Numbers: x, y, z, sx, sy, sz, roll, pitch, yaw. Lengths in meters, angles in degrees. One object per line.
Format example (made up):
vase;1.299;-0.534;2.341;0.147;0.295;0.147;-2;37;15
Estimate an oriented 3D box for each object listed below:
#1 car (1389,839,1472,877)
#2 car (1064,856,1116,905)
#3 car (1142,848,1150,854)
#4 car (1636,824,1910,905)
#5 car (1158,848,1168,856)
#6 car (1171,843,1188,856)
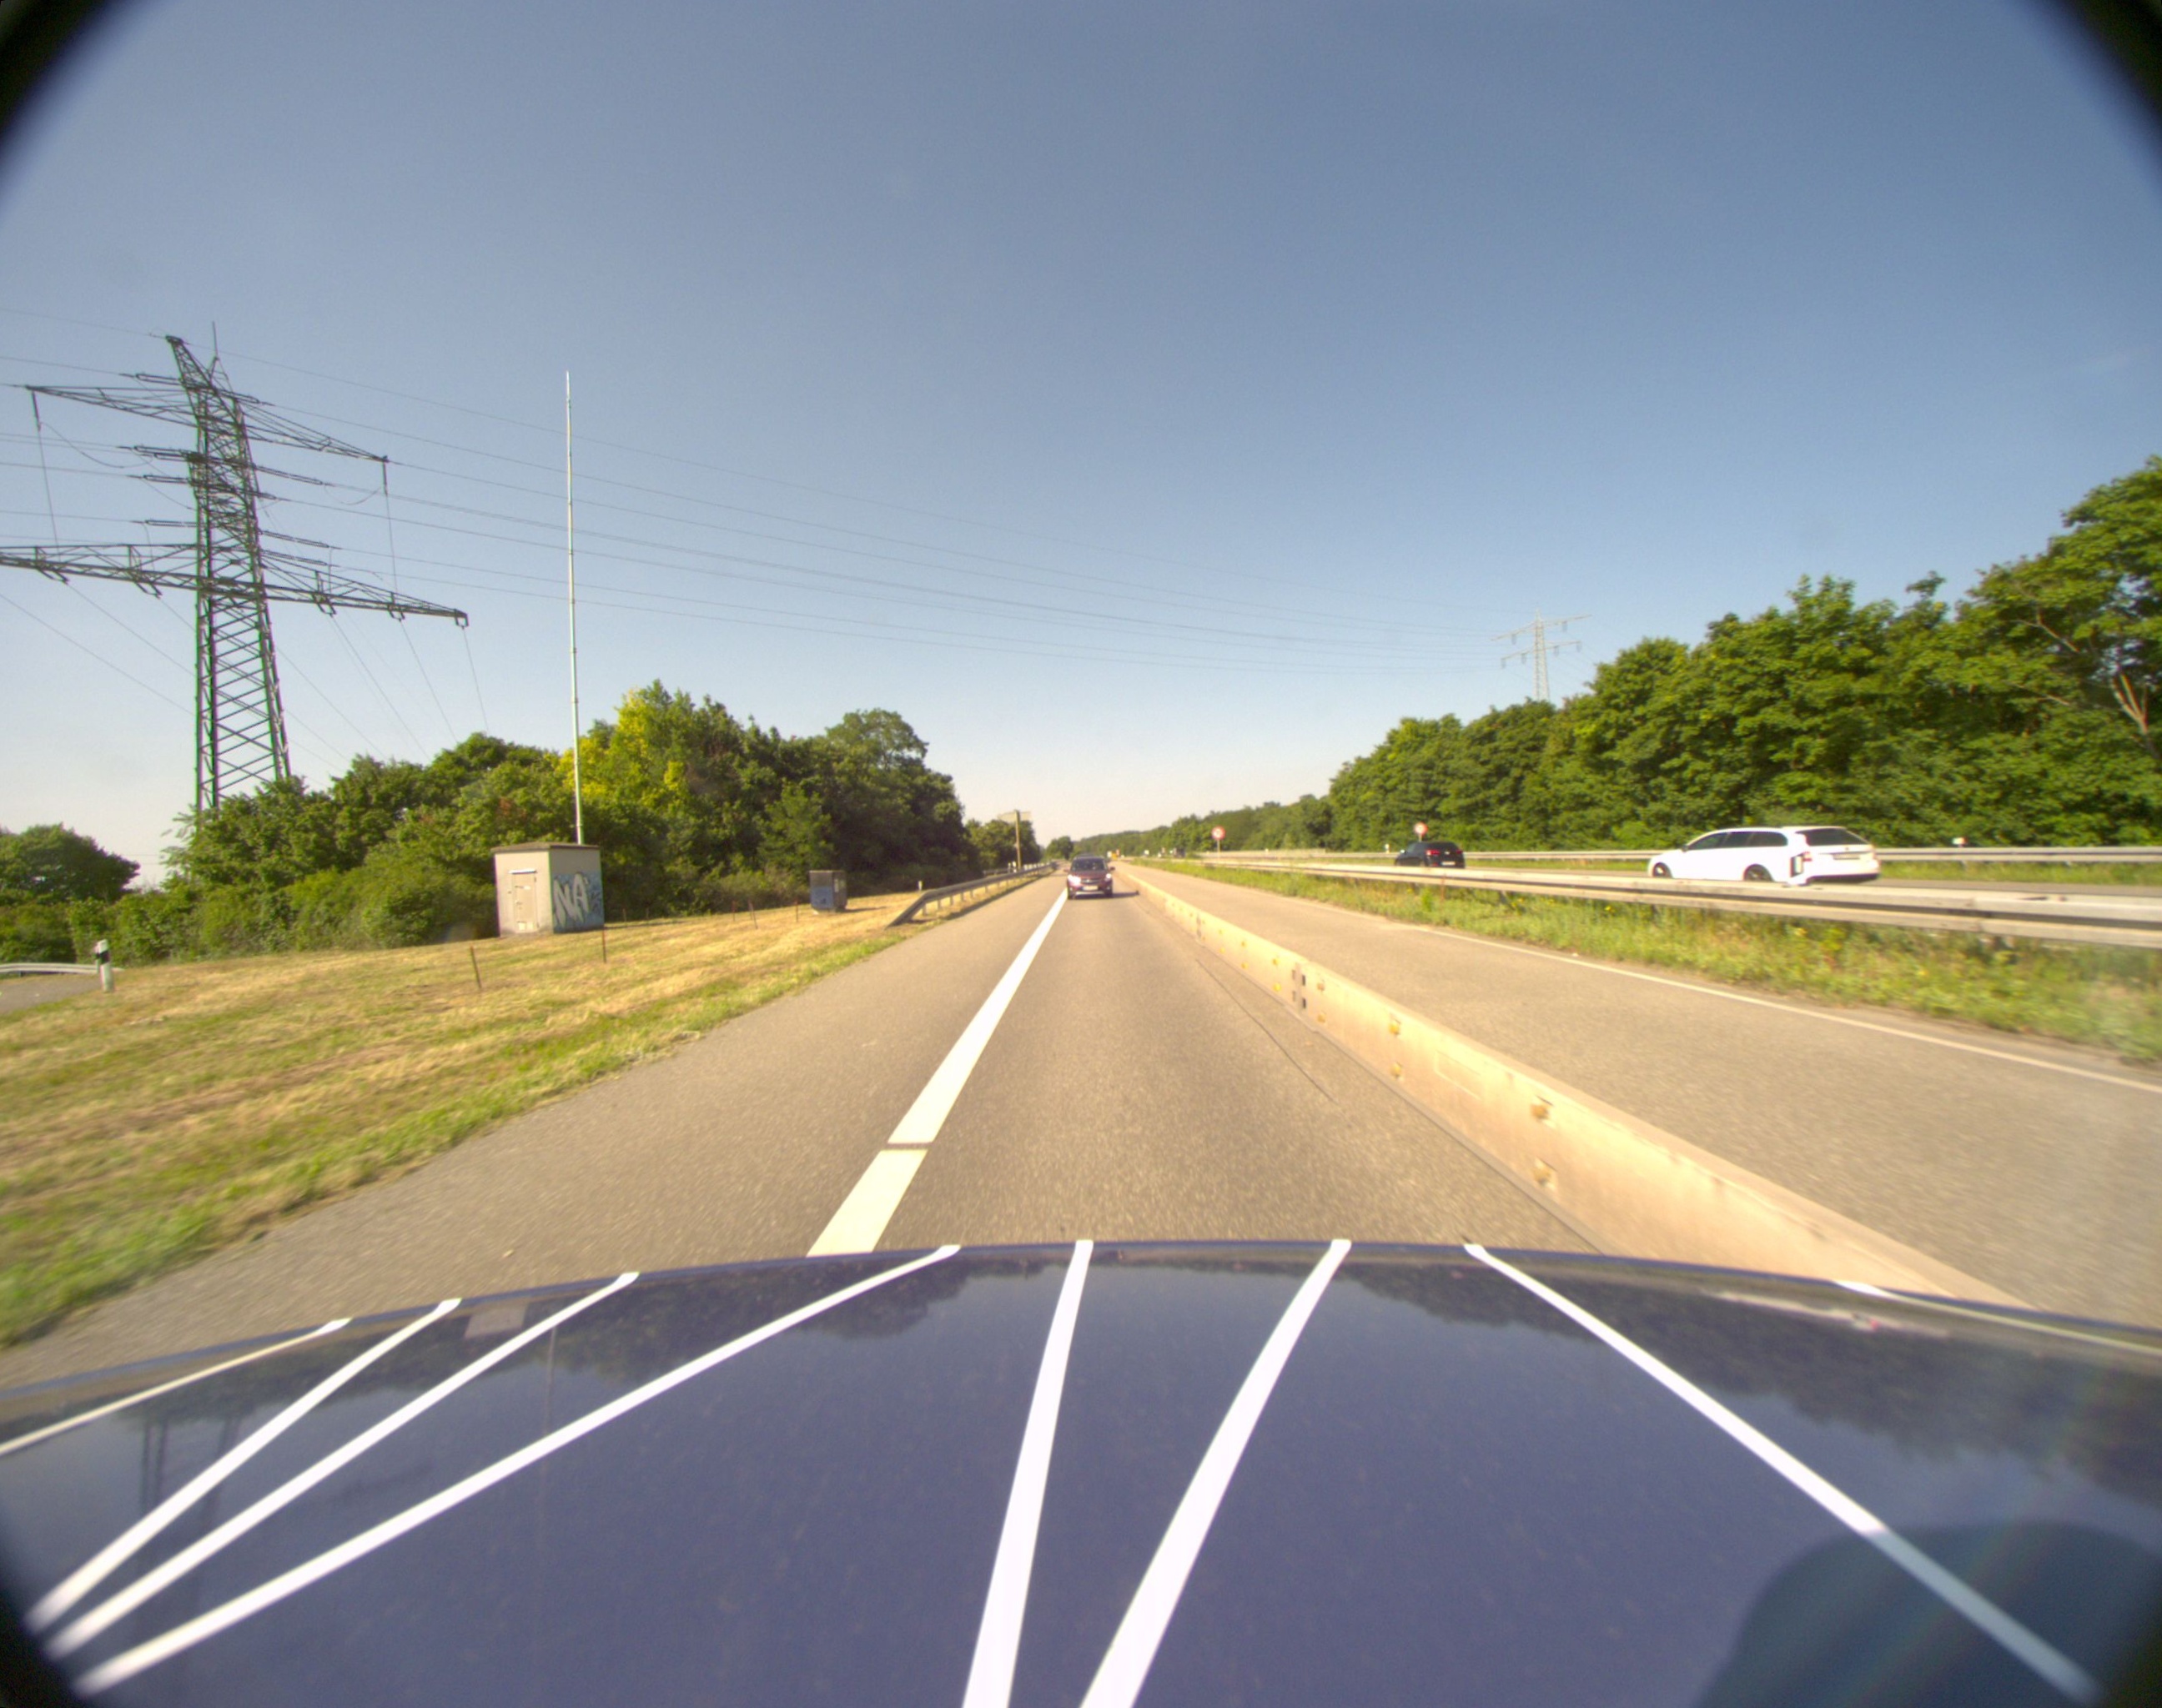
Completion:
car;15.280;0.151;33.490;1.743;1.485;4.109;-3;0;0
car;0.371;0.856;26.128;1.587;1.491;4.416;-2;0;2
car;17.905;-0.878;209.797;1.767;1.574;4.422;-4;0;1
car;15.152;0.191;17.117;1.764;1.462;4.794;-3;0;0
car;17.609;-0.435;163.108;1.651;1.522;3.818;-2;0;1
car;16.575;-0.720;127.875;1.999;2.023;5.167;-4;0;-1
